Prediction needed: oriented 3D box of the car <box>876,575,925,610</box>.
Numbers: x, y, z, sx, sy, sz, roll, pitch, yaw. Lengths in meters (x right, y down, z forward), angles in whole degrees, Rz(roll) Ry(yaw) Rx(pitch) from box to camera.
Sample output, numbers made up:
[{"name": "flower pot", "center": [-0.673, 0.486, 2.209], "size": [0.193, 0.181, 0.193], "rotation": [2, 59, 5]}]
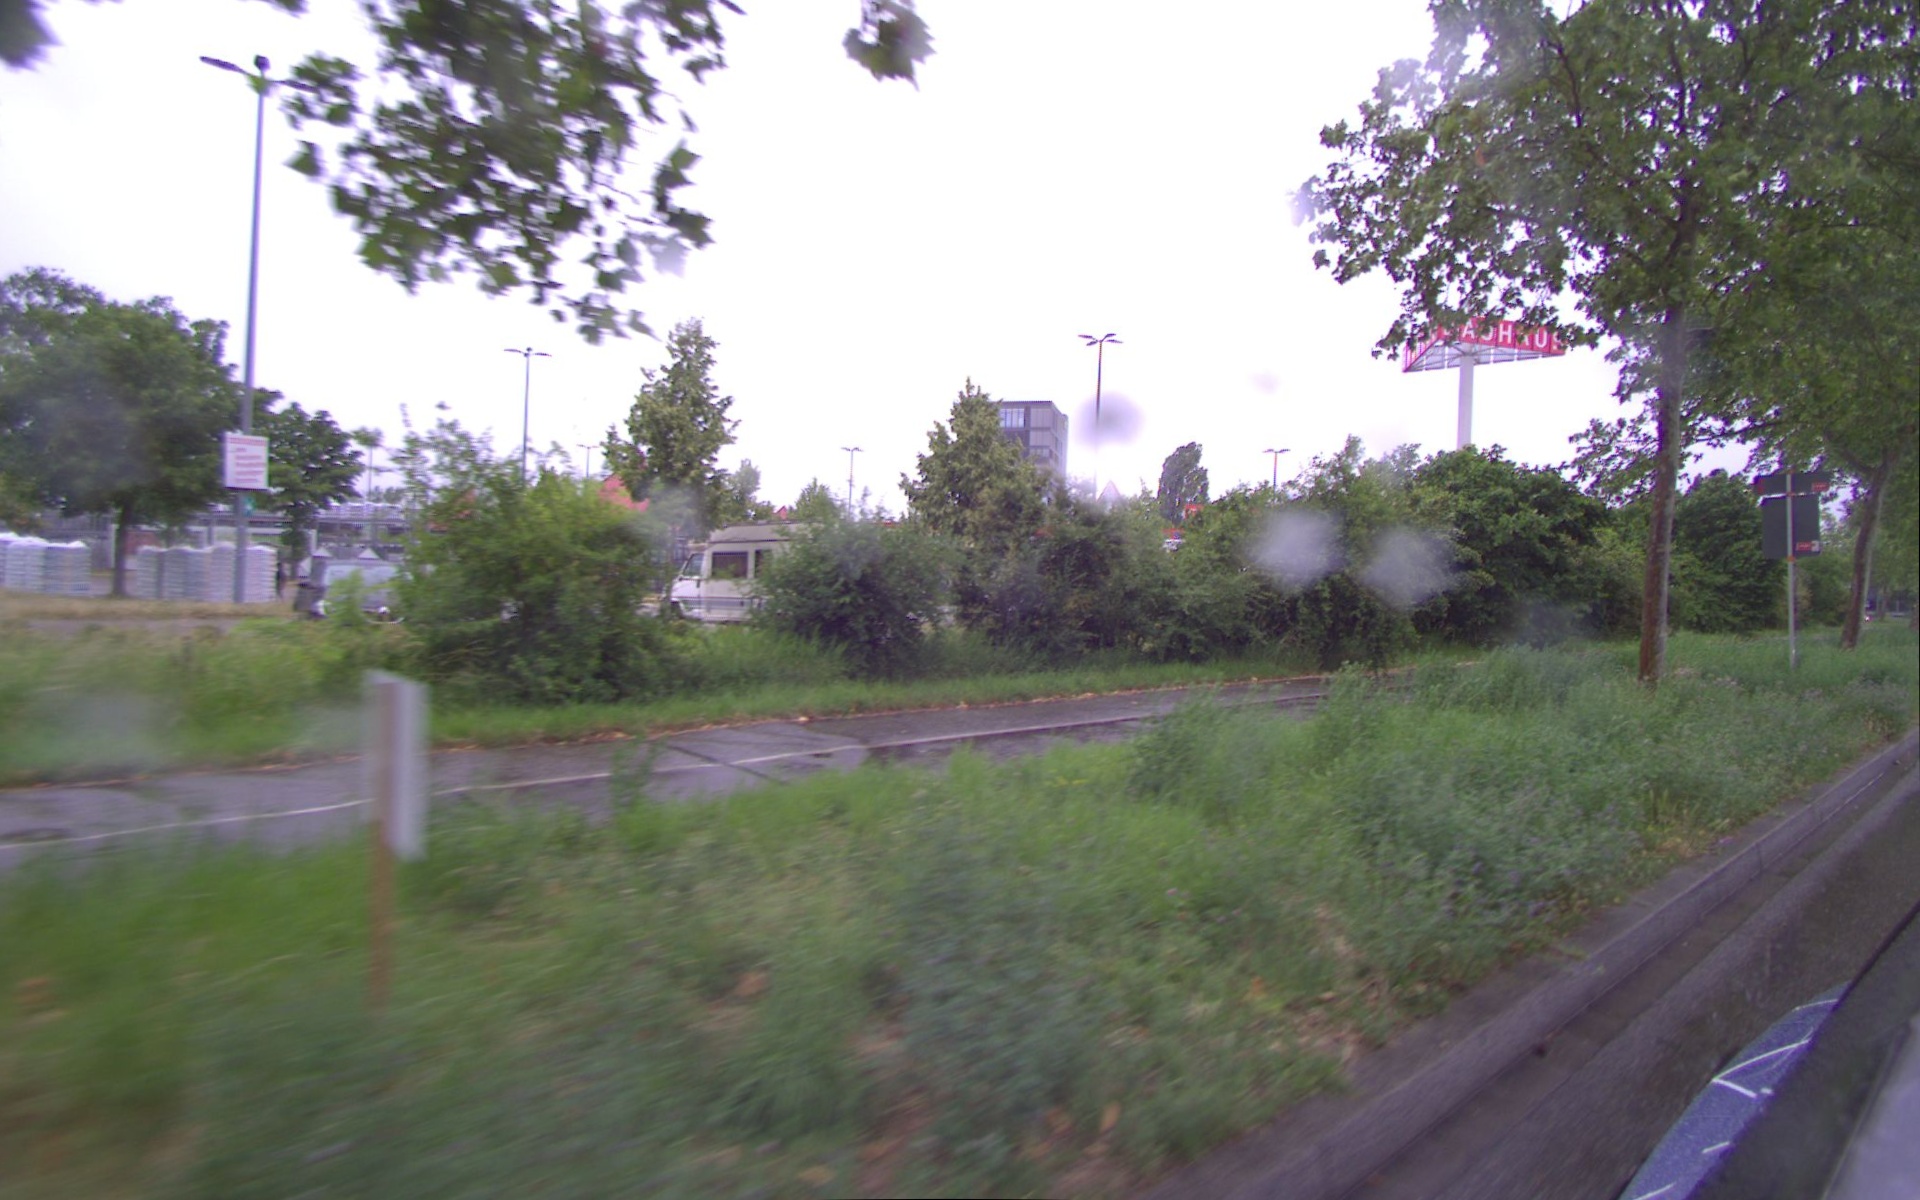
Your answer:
[{"name": "car", "center": [-3.607, -0.480, 61.820], "size": [1.871, 2.039, 4.057], "rotation": [1, 1, 14]}]

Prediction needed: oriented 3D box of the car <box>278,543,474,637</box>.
[{"name": "car", "center": [-9.908, -0.169, 17.046], "size": [1.967, 1.382, 3.989], "rotation": [-1, 1, -44]}]

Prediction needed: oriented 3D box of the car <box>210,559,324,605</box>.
[{"name": "car", "center": [-35.332, -0.974, 51.636], "size": [5.085, 2.229, 2.072], "rotation": [1, 3, 17]}]

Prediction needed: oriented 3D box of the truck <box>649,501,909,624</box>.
[{"name": "truck", "center": [-4.165, -0.743, 22.303], "size": [6.529, 2.333, 2.186], "rotation": [0, 1, 43]}]
